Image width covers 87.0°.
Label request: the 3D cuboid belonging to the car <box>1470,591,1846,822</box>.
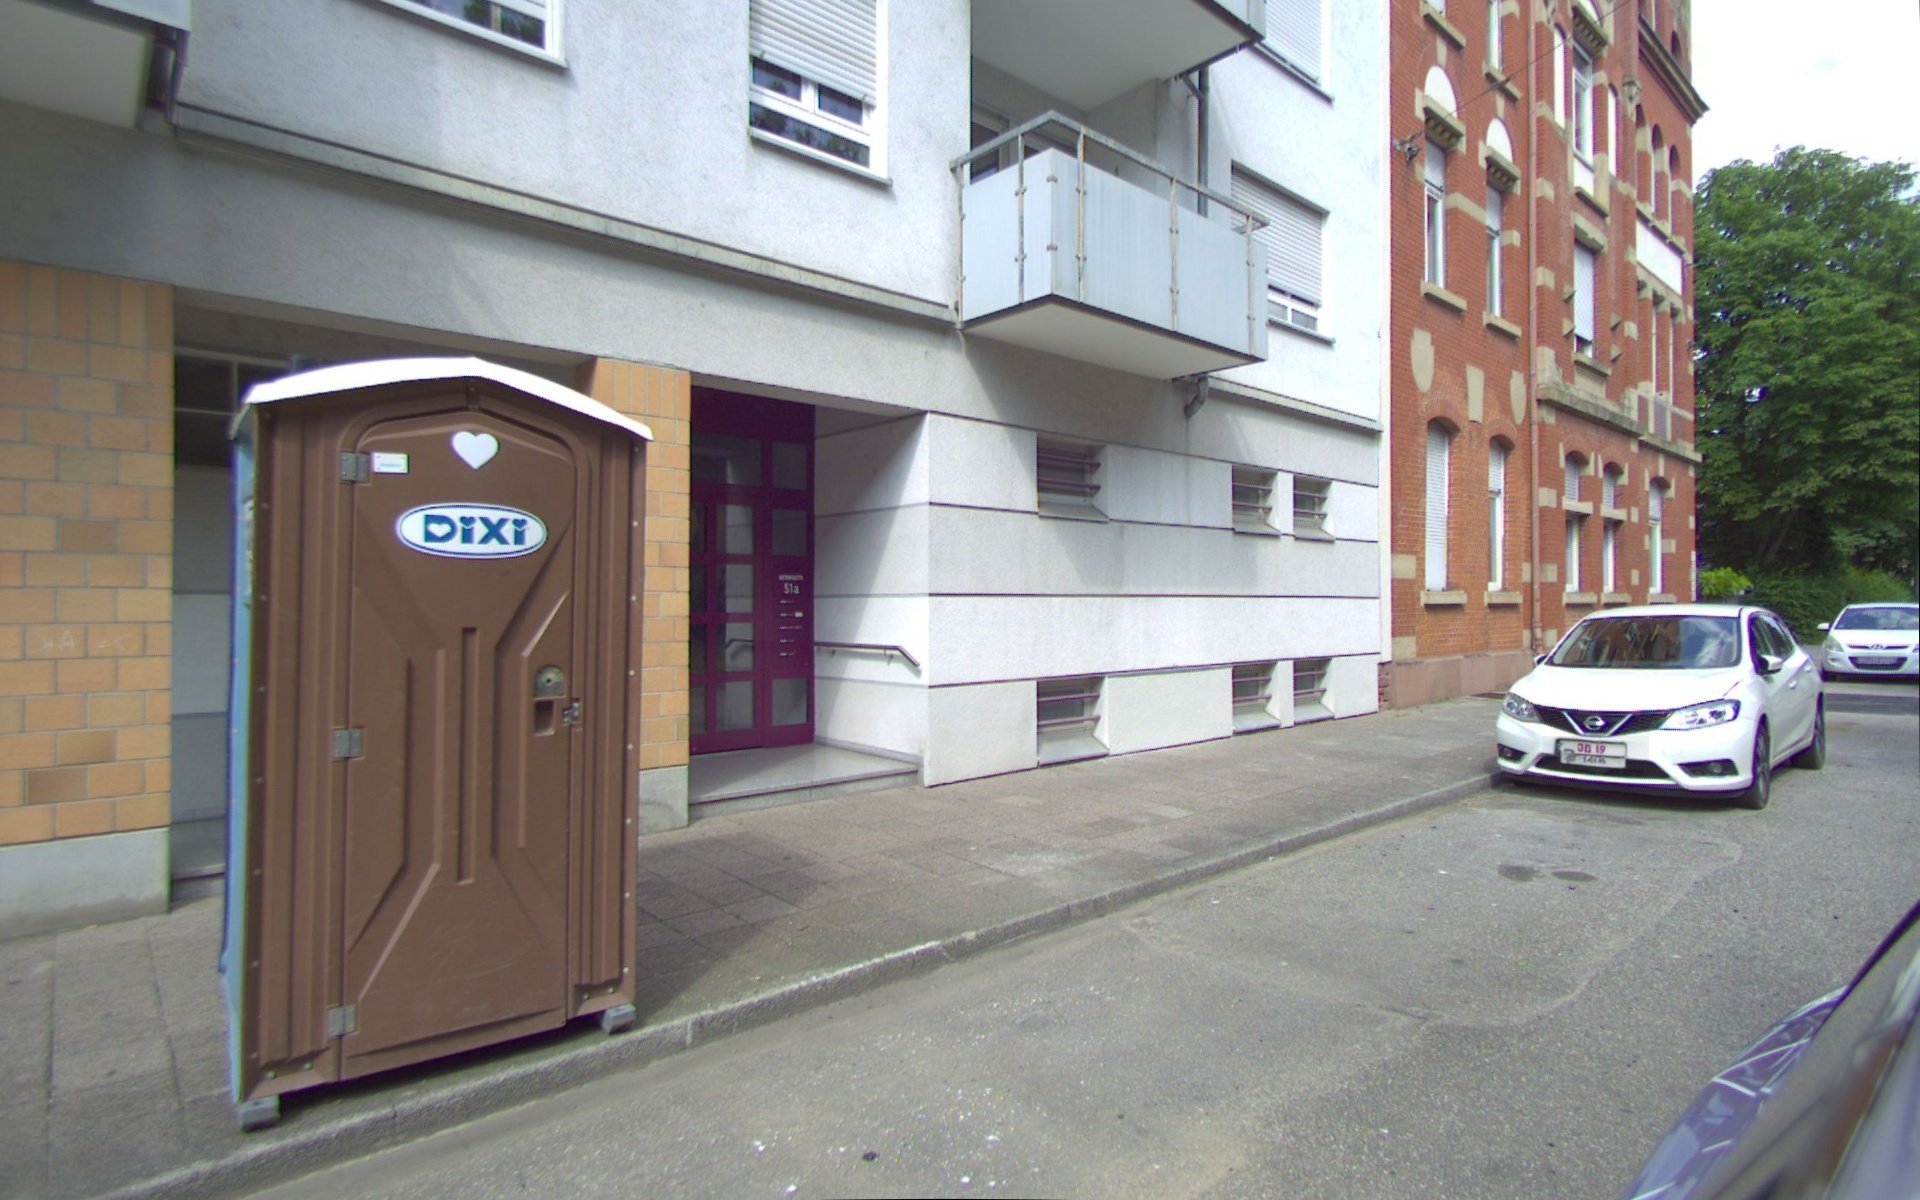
[{"bbox_3d":[6.184,0.724,8.793,3.971,1.549,1.799,0,-1,-42],"label":"car"}]

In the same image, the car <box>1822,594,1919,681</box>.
[{"bbox_3d":[18.171,0.662,19.540,3.971,1.549,1.799,0,-1,-42],"label":"car"}]
